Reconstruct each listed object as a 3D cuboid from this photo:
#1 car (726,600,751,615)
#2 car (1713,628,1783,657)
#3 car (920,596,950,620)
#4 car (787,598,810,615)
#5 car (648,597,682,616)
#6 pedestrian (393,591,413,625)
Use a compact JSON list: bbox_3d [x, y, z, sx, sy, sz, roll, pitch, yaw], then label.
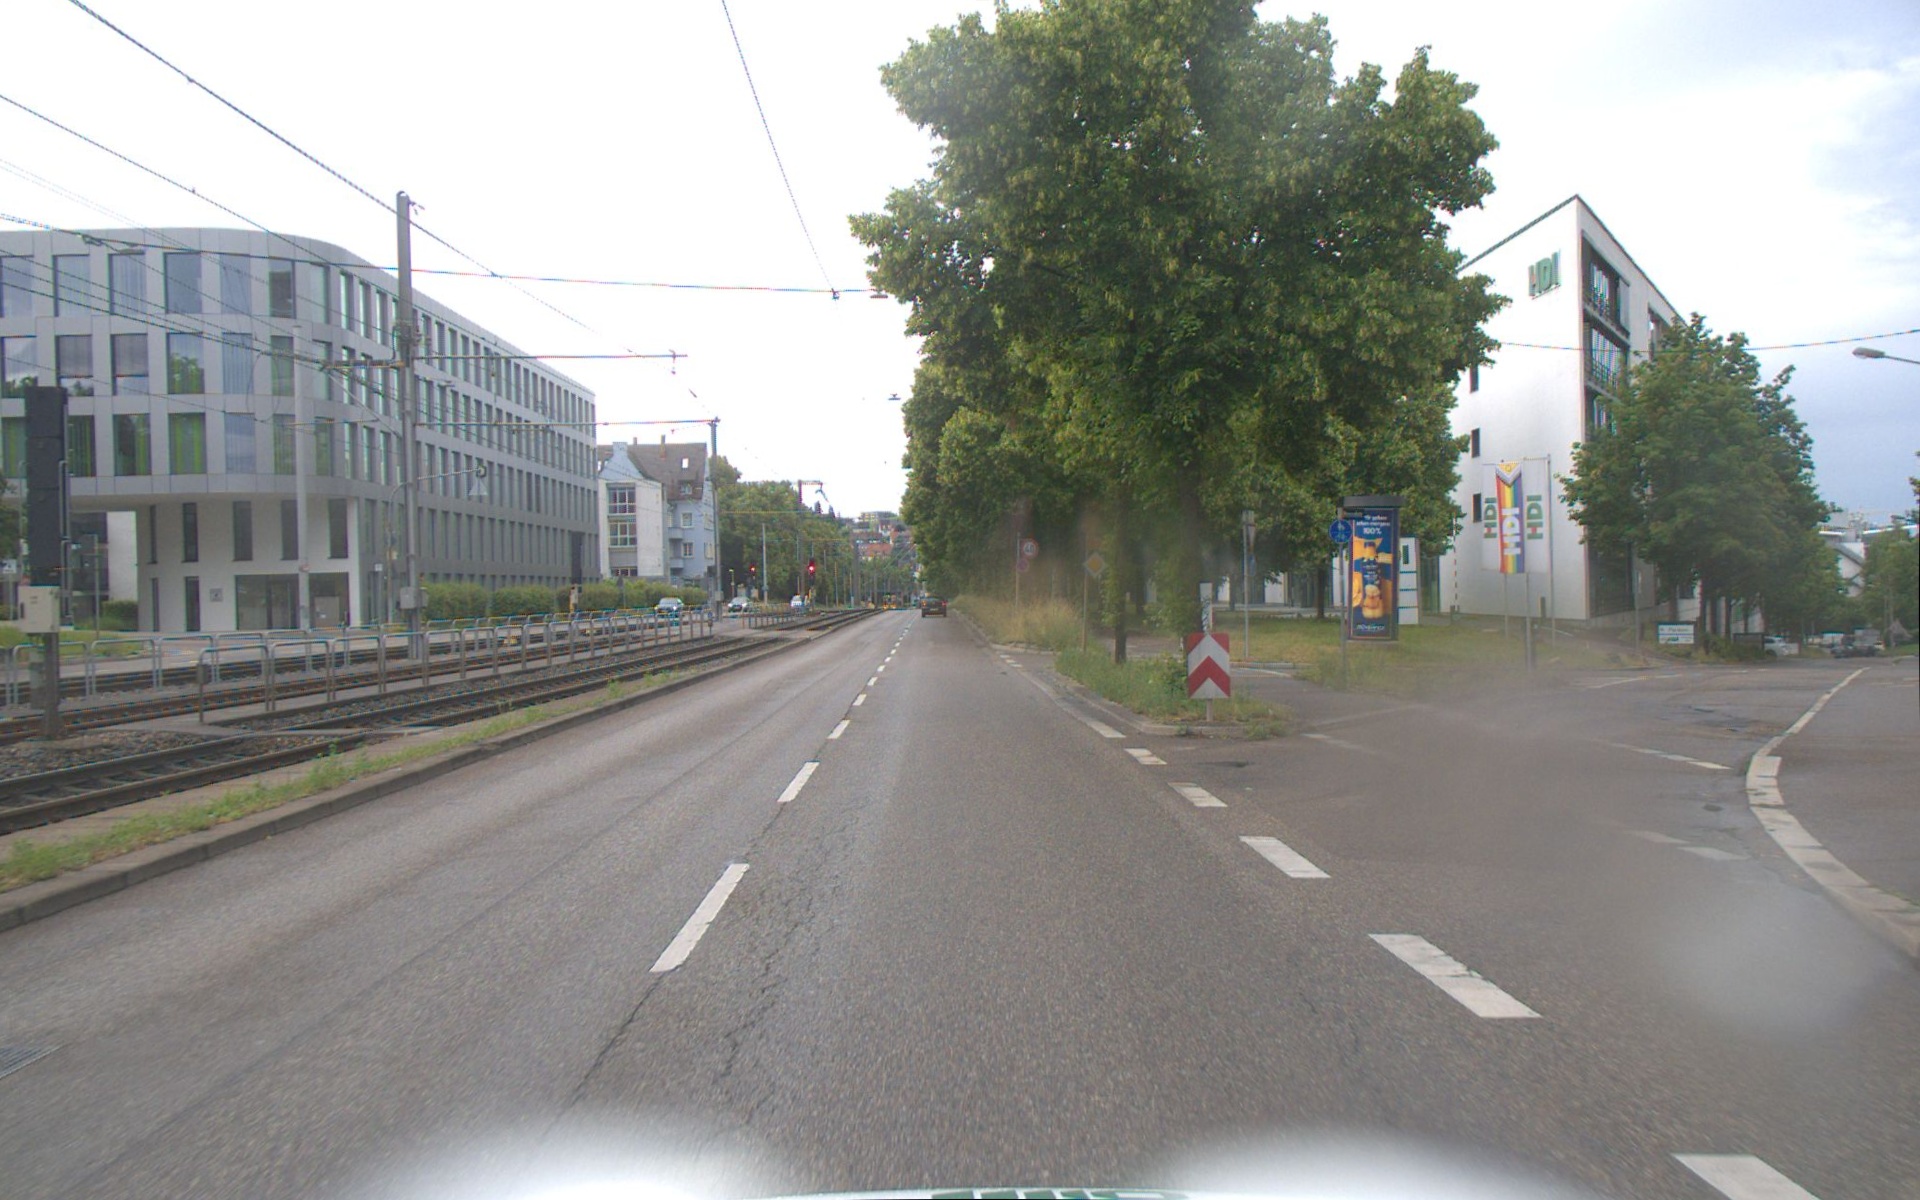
[{"bbox_3d":[-20.430,0.688,152.875,1.761,1.370,4.258,-1,0,-1],"label":"car"},{"bbox_3d":[49.288,2.632,103.469,3.909,1.747,1.998,-1,0,26],"label":"car"},{"bbox_3d":[-1.641,0.506,109.656,1.942,1.466,4.473,-1,0,-1],"label":"car"},{"bbox_3d":[-17.039,0.667,174.685,1.863,1.673,4.884,-1,0,0],"label":"car"},{"bbox_3d":[-21.107,0.453,118.578,1.720,1.265,3.987,-1,0,-1],"label":"car"},{"bbox_3d":[-27.405,0.400,81.432,0.709,1.676,0.845,0,0,0],"label":"pedestrian"}]
